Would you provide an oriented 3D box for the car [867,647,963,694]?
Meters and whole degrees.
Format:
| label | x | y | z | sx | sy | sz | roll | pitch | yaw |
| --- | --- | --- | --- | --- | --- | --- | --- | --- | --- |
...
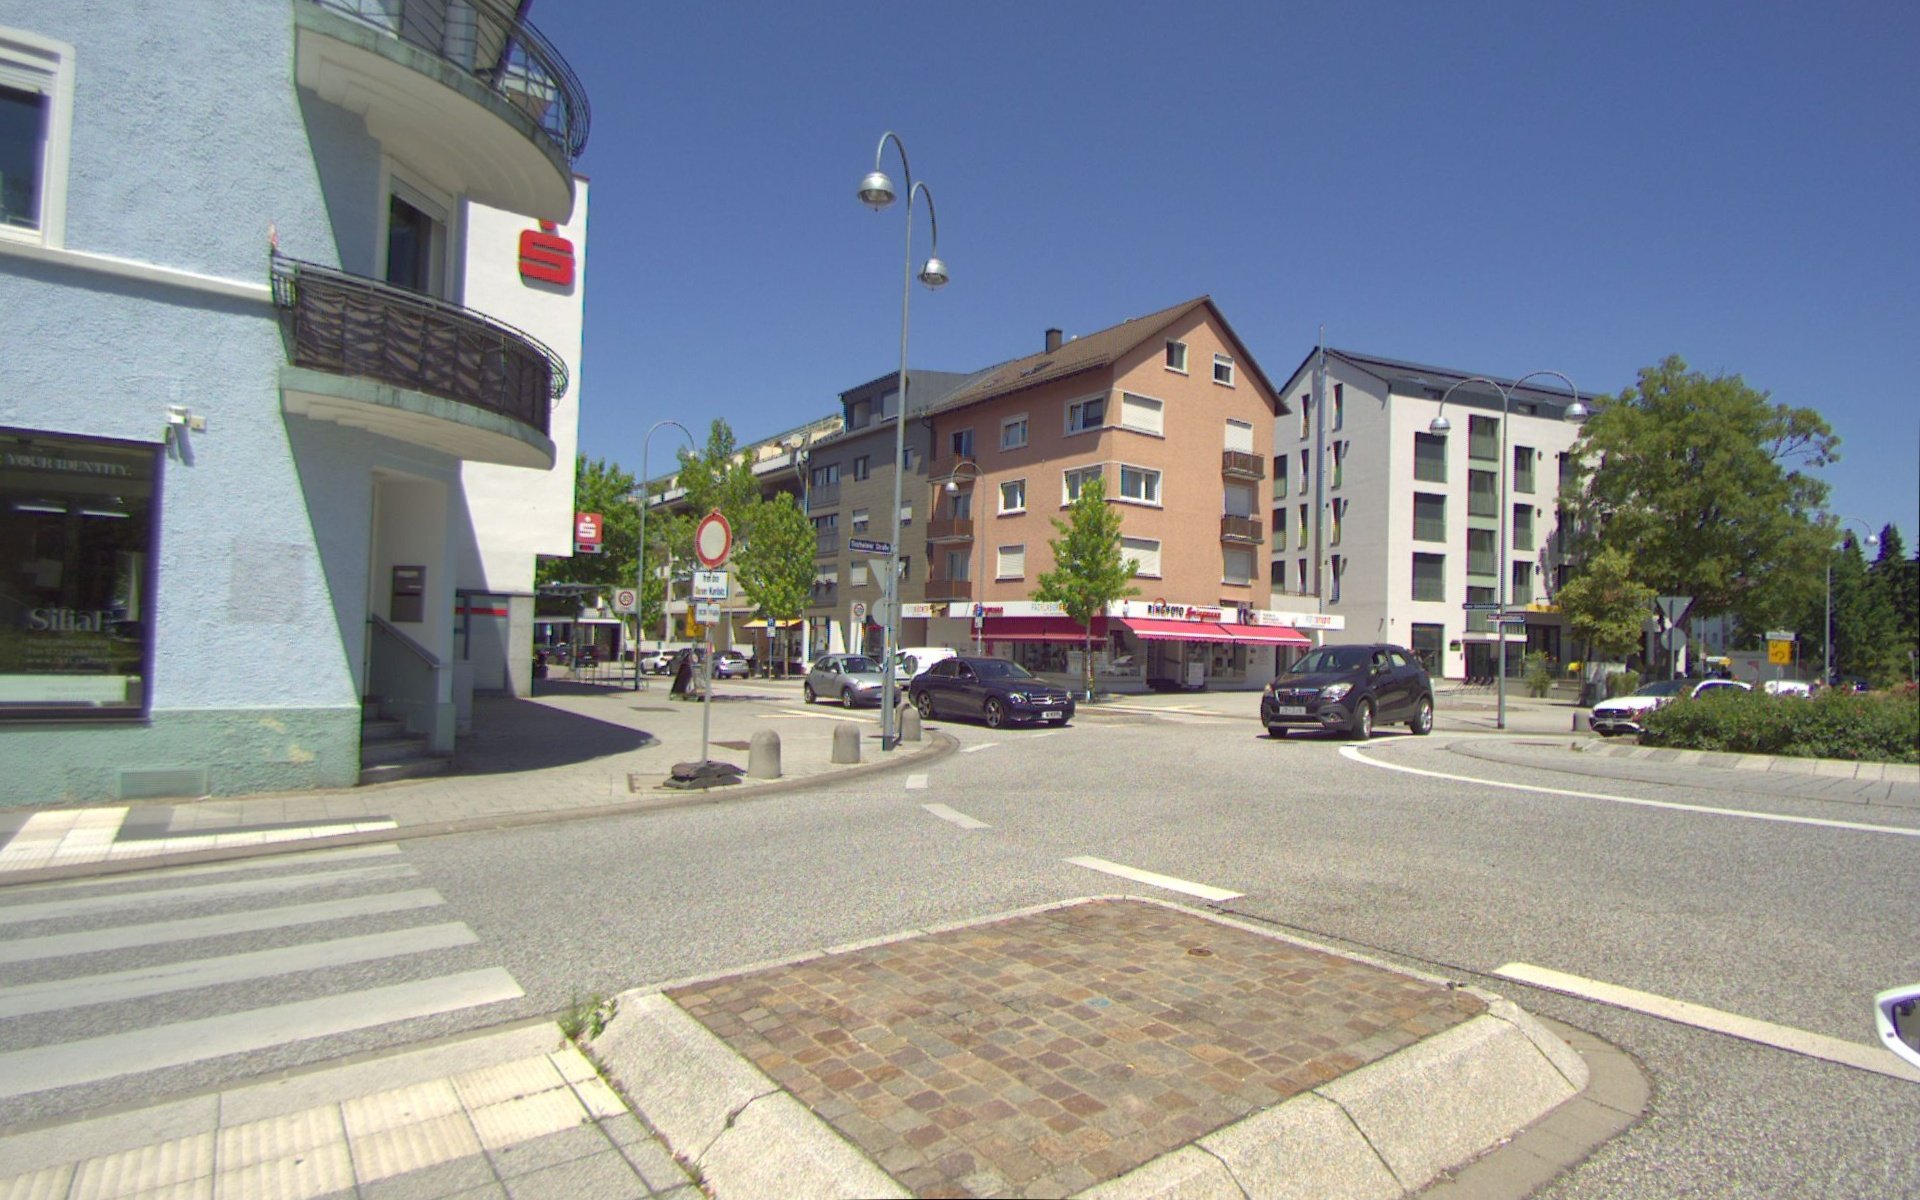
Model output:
| label | x | y | z | sx | sy | sz | roll | pitch | yaw |
| --- | --- | --- | --- | --- | --- | --- | --- | --- | --- |
| car | -1.839 | 2.802 | 40.409 | 3.857 | 1.747 | 1.742 | -2 | -2 | 44 |

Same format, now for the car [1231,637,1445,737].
| label | x | y | z | sx | sy | sz | roll | pitch | yaw |
| --- | --- | --- | --- | --- | --- | --- | --- | --- | --- |
| car | 6.888 | 1.542 | 18.110 | 4.137 | 1.582 | 1.975 | 4 | -6 | -43 |

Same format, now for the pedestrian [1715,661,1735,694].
| label | x | y | z | sx | sy | sz | roll | pitch | yaw |
| --- | --- | --- | --- | --- | --- | --- | --- | --- | --- |
| pedestrian | 36.039 | 3.656 | 47.333 | 0.548 | 1.504 | 0.529 | 2 | -3 | -22 |

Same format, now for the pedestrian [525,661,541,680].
| label | x | y | z | sx | sy | sz | roll | pitch | yaw |
| --- | --- | --- | --- | --- | --- | --- | --- | --- | --- |
| pedestrian | -20.357 | 3.343 | 47.915 | 0.658 | 0.869 | 0.728 | 2 | -6 | -27 |

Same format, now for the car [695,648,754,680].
| label | x | y | z | sx | sy | sz | roll | pitch | yaw |
| --- | --- | --- | --- | --- | --- | --- | --- | --- | --- |
| car | -12.421 | 3.338 | 52.830 | 1.730 | 1.570 | 3.906 | 2 | -3 | -35 |

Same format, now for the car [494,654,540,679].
| label | x | y | z | sx | sy | sz | roll | pitch | yaw |
| --- | --- | --- | --- | --- | --- | --- | --- | --- | --- |
| car | -31.129 | 4.648 | 70.541 | 1.981 | 1.613 | 4.950 | 4 | -4 | -35 |

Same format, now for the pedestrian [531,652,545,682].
| label | x | y | z | sx | sy | sz | roll | pitch | yaw |
| --- | --- | --- | --- | --- | --- | --- | --- | --- | --- |
| pedestrian | -19.787 | 3.117 | 47.090 | 0.562 | 1.390 | 0.662 | 2 | -3 | -27 |

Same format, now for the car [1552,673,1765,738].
| label | x | y | z | sx | sy | sz | roll | pitch | yaw |
| --- | --- | --- | --- | --- | --- | --- | --- | --- | --- |
| car | 16.207 | 2.418 | 23.341 | 4.222 | 1.399 | 1.925 | 2 | -4 | -19 |

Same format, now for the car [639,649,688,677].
| label | x | y | z | sx | sy | sz | roll | pitch | yaw |
| --- | --- | --- | --- | --- | --- | --- | --- | --- | --- |
| car | -18.190 | 3.825 | 61.451 | 1.710 | 1.604 | 4.186 | 2 | -3 | -34 |

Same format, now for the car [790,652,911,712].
| label | x | y | z | sx | sy | sz | roll | pitch | yaw |
| --- | --- | --- | --- | --- | --- | --- | --- | --- | --- |
| car | -3.131 | 2.236 | 28.085 | 1.838 | 1.497 | 3.874 | 2 | -3 | -33 |

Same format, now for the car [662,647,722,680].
| label | x | y | z | sx | sy | sz | roll | pitch | yaw |
| --- | --- | --- | --- | --- | --- | --- | --- | --- | --- |
| car | -15.252 | 3.572 | 57.001 | 1.752 | 1.728 | 4.659 | 2 | -3 | -35 |

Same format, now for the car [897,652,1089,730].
| label | x | y | z | sx | sy | sz | roll | pitch | yaw |
| --- | --- | --- | --- | --- | --- | --- | --- | --- | --- |
| car | 0.621 | 1.967 | 22.689 | 1.980 | 1.497 | 4.664 | 2 | -3 | -35 |

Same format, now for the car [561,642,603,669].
| label | x | y | z | sx | sy | sz | roll | pitch | yaw |
| --- | --- | --- | --- | --- | --- | --- | --- | --- | --- |
| car | -28.683 | 4.178 | 76.131 | 1.979 | 1.822 | 4.526 | 2 | -1 | -34 |

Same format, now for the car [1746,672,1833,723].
| label | x | y | z | sx | sy | sz | roll | pitch | yaw |
| --- | --- | --- | --- | --- | --- | --- | --- | --- | --- |
| car | 29.669 | 3.437 | 35.878 | 3.970 | 1.611 | 1.780 | 4 | -1 | -41 |
